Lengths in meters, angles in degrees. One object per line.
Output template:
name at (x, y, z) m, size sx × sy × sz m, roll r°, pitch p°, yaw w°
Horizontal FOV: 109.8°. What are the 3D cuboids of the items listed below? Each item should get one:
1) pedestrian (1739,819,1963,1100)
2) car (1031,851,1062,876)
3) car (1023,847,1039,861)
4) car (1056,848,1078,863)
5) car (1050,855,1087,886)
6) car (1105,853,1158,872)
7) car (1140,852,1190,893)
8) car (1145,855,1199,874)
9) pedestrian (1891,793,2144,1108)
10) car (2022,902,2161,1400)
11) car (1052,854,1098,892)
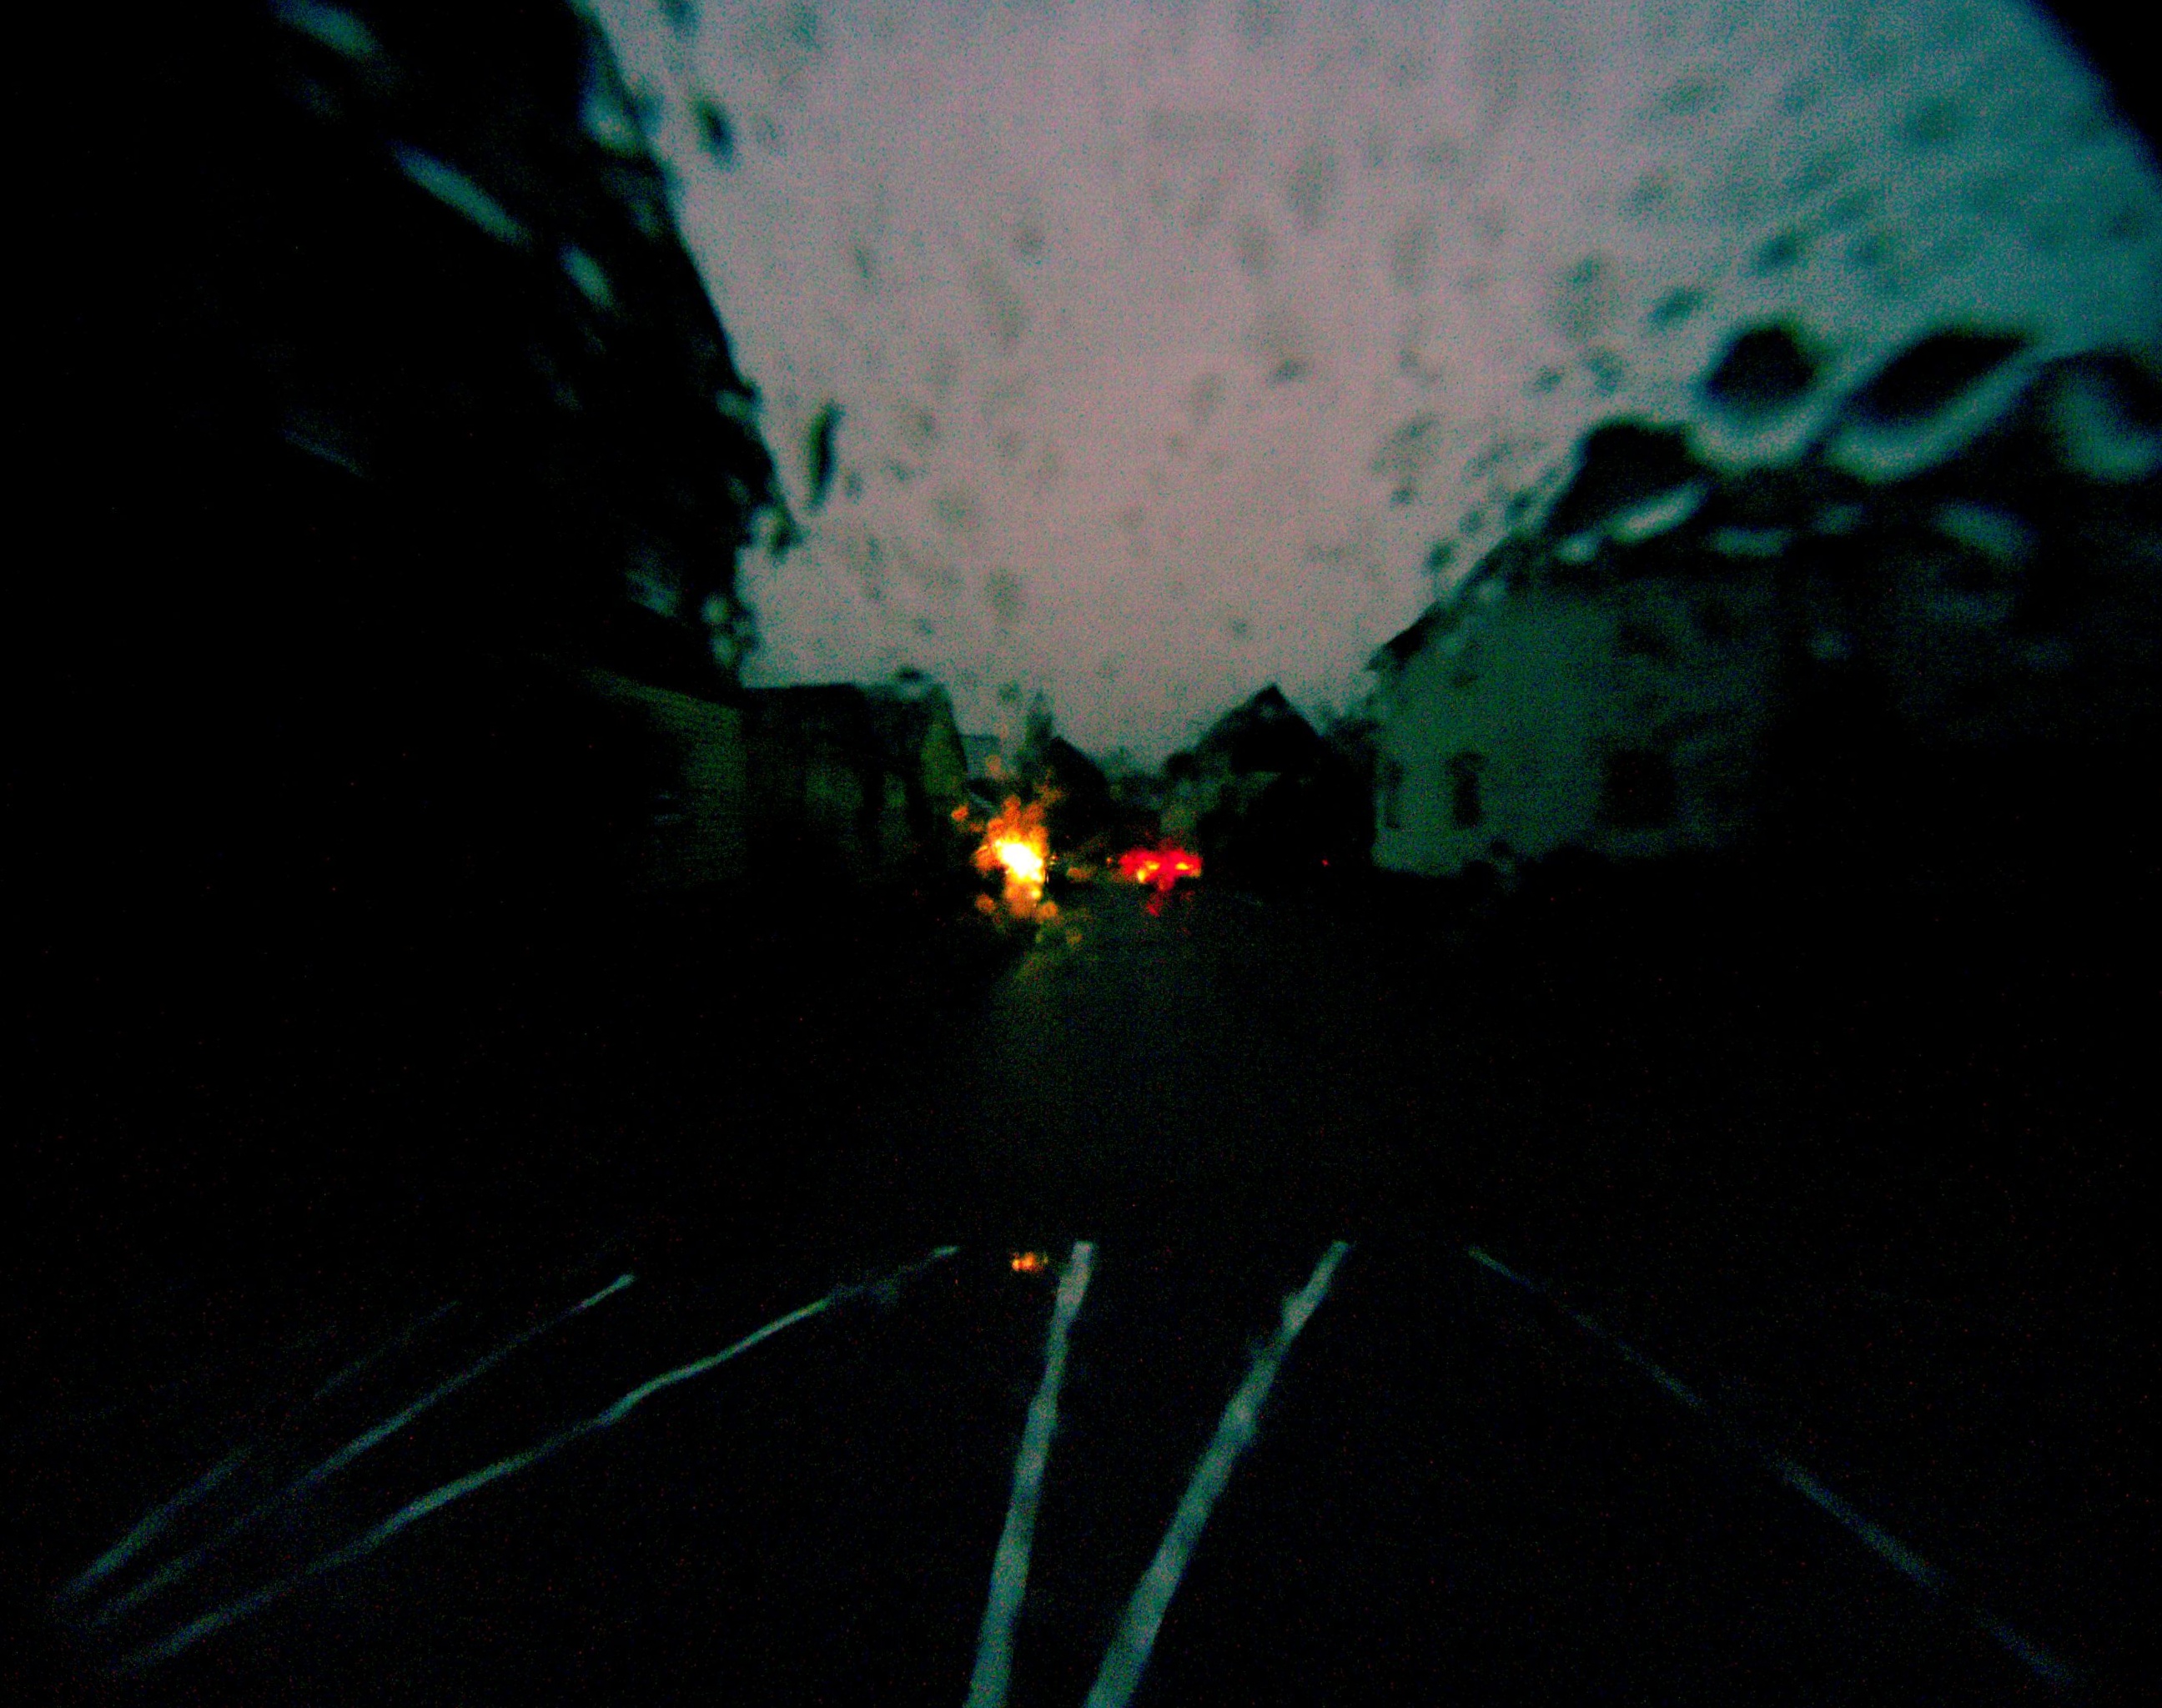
pedestrian at (5.220, 0.668, 5.212) m, size 0.708 × 1.769 × 0.812 m, roll -1°, pitch 1°, yaw 1°
car at (-2.960, 0.758, 63.853) m, size 2.000 × 2.002 × 3.995 m, roll -2°, pitch 1°, yaw -11°
car at (-5.805, -0.028, 88.426) m, size 1.765 × 1.489 × 3.998 m, roll -3°, pitch 1°, yaw -3°
car at (-1.612, 0.137, 86.173) m, size 2.000 × 1.620 × 3.997 m, roll -2°, pitch 1°, yaw -7°
car at (-0.729, 0.839, 40.189) m, size 1.795 × 1.431 × 4.620 m, roll -2°, pitch 1°, yaw -3°
car at (4.616, 0.800, 69.794) m, size 4.480 × 1.570 × 1.998 m, roll -2°, pitch 1°, yaw -6°
car at (3.624, 0.766, 33.412) m, size 1.762 × 1.571 × 3.999 m, roll -2°, pitch 1°, yaw 1°
car at (7.396, 0.852, 61.993) m, size 2.003 × 1.417 × 4.226 m, roll -2°, pitch 1°, yaw -36°
pedestrian at (6.027, 0.577, 4.942) m, size 0.599 × 1.858 × 0.812 m, roll -3°, pitch 1°, yaw 1°
car at (4.029, 0.861, 0.493) m, size 1.828 × 1.432 × 4.068 m, roll -1°, pitch 0°, yaw 1°
car at (-0.343, 0.777, 33.578) m, size 1.731 × 1.423 × 4.795 m, roll -2°, pitch 1°, yaw -3°
